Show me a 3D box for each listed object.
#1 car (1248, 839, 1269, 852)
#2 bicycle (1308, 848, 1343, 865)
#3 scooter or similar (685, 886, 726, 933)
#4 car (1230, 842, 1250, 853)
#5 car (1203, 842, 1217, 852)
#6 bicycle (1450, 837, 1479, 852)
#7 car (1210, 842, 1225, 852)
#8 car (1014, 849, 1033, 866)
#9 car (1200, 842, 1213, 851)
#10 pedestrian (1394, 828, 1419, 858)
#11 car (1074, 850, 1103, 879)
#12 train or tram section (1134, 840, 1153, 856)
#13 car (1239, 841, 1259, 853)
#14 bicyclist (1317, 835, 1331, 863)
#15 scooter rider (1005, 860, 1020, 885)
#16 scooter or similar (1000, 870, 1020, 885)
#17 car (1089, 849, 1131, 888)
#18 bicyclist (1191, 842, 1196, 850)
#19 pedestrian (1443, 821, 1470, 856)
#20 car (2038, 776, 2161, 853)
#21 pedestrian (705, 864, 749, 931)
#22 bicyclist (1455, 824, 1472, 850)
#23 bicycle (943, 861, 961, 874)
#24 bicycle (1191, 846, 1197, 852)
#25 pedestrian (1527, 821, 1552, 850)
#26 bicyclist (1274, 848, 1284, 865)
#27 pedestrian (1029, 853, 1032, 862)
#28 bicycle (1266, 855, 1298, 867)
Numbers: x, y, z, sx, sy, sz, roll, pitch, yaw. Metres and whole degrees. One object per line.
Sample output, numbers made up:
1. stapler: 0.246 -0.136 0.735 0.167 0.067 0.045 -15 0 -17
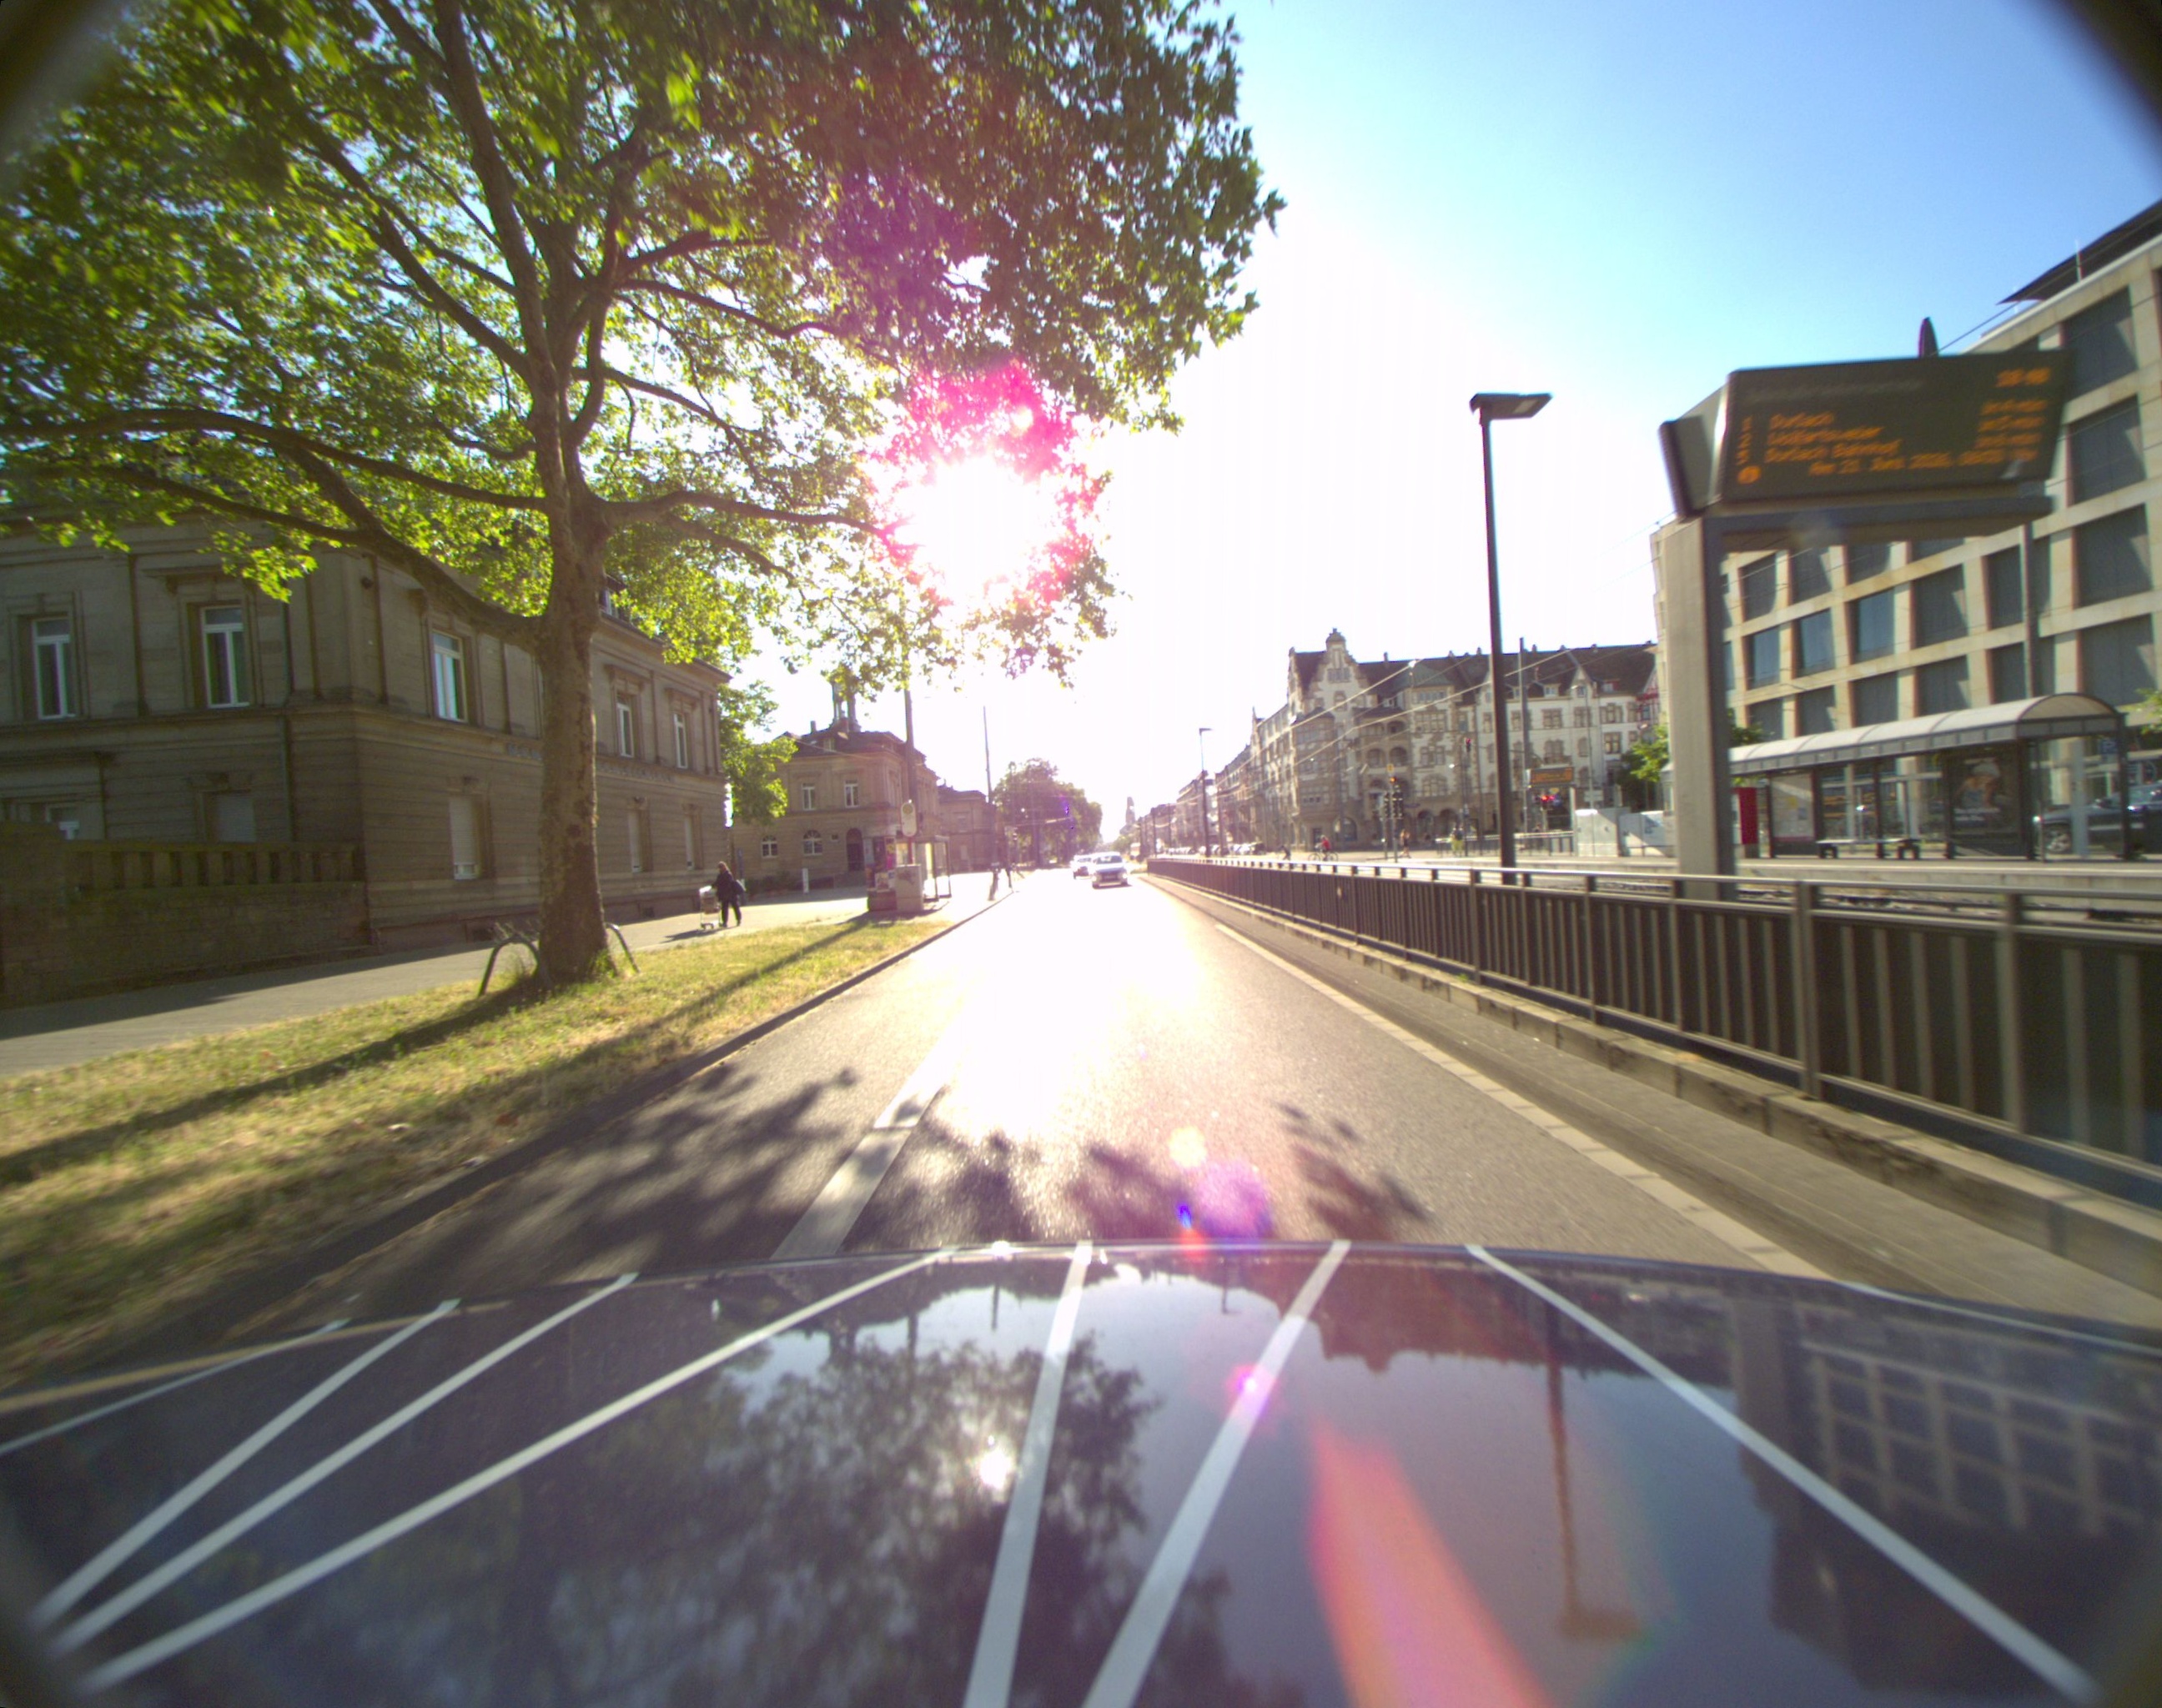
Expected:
1. car: 23.577 -1.122 101.151 1.780 1.660 3.999 -4 0 -1
2. bicycle: 14.534 0.126 45.245 1.888 0.873 0.608 -4 1 9
3. scooter or similar: -10.031 1.472 20.321 0.720 1.149 0.759 -2 1 -5
4. car: 23.465 -0.956 112.108 1.741 1.516 3.998 -5 0 -4
5. car: 23.018 -1.226 135.367 1.741 1.516 4.000 -5 0 1
6. bicycle: 26.738 -0.666 52.975 1.890 0.906 0.513 -4 1 -17
7. car: 23.121 -1.153 129.209 1.741 1.516 4.000 -5 0 1
8. car: -7.814 0.489 103.528 1.833 2.034 4.000 -4 1 4
9. car: 23.201 -1.310 140.660 1.741 1.516 4.000 -5 0 1
10. pedestrian: 18.562 -0.612 43.377 0.933 1.635 0.795 -4 1 -12
11. car: 0.463 0.621 47.568 1.649 1.555 3.666 -5 1 0
12. train or tram section: 14.803 -1.216 181.806 2.781 3.378 19.474 -5 0 1
13. car: 23.568 -0.946 106.707 1.727 1.467 4.432 -4 0 -2
14. bicyclist: 14.455 -0.286 45.224 0.629 1.609 0.684 -4 1 9
15. scooter rider: -3.950 1.070 43.953 0.703 1.389 0.600 -4 1 1
16. scooter or similar: -4.099 1.369 43.872 1.023 0.807 0.265 -4 1 1
17. car: 1.277 0.606 34.721 1.649 1.555 3.666 -5 1 0
18. bicyclist: 20.763 -1.472 139.878 0.683 1.609 0.630 -4 1 -2
19. pedestrian: 18.462 -0.745 37.372 0.795 1.635 0.933 -4 1 2
20. car: 25.955 -0.976 17.828 1.922 1.759 4.000 -4 0 2
21. pedestrian: -9.553 1.163 20.540 0.771 1.734 0.796 -2 1 -5
22. bicyclist: 26.656 -1.191 52.938 0.668 1.797 0.646 -4 1 -17
23. bicycle: -12.945 1.326 76.257 1.650 1.174 0.690 -3 1 -1
24. bicycle: 20.815 -0.903 139.907 0.607 0.996 2.068 -4 0 -2
25. pedestrian: 27.367 -1.079 45.375 0.933 1.635 0.795 -4 1 -12
26. bicyclist: 11.781 0.156 45.186 0.462 0.987 0.511 -4 1 10
27. pedestrian: -9.029 0.663 135.077 0.364 1.635 0.390 -4 1 1
28. bicycle: 11.953 0.412 45.187 1.724 0.605 0.512 -4 1 10
